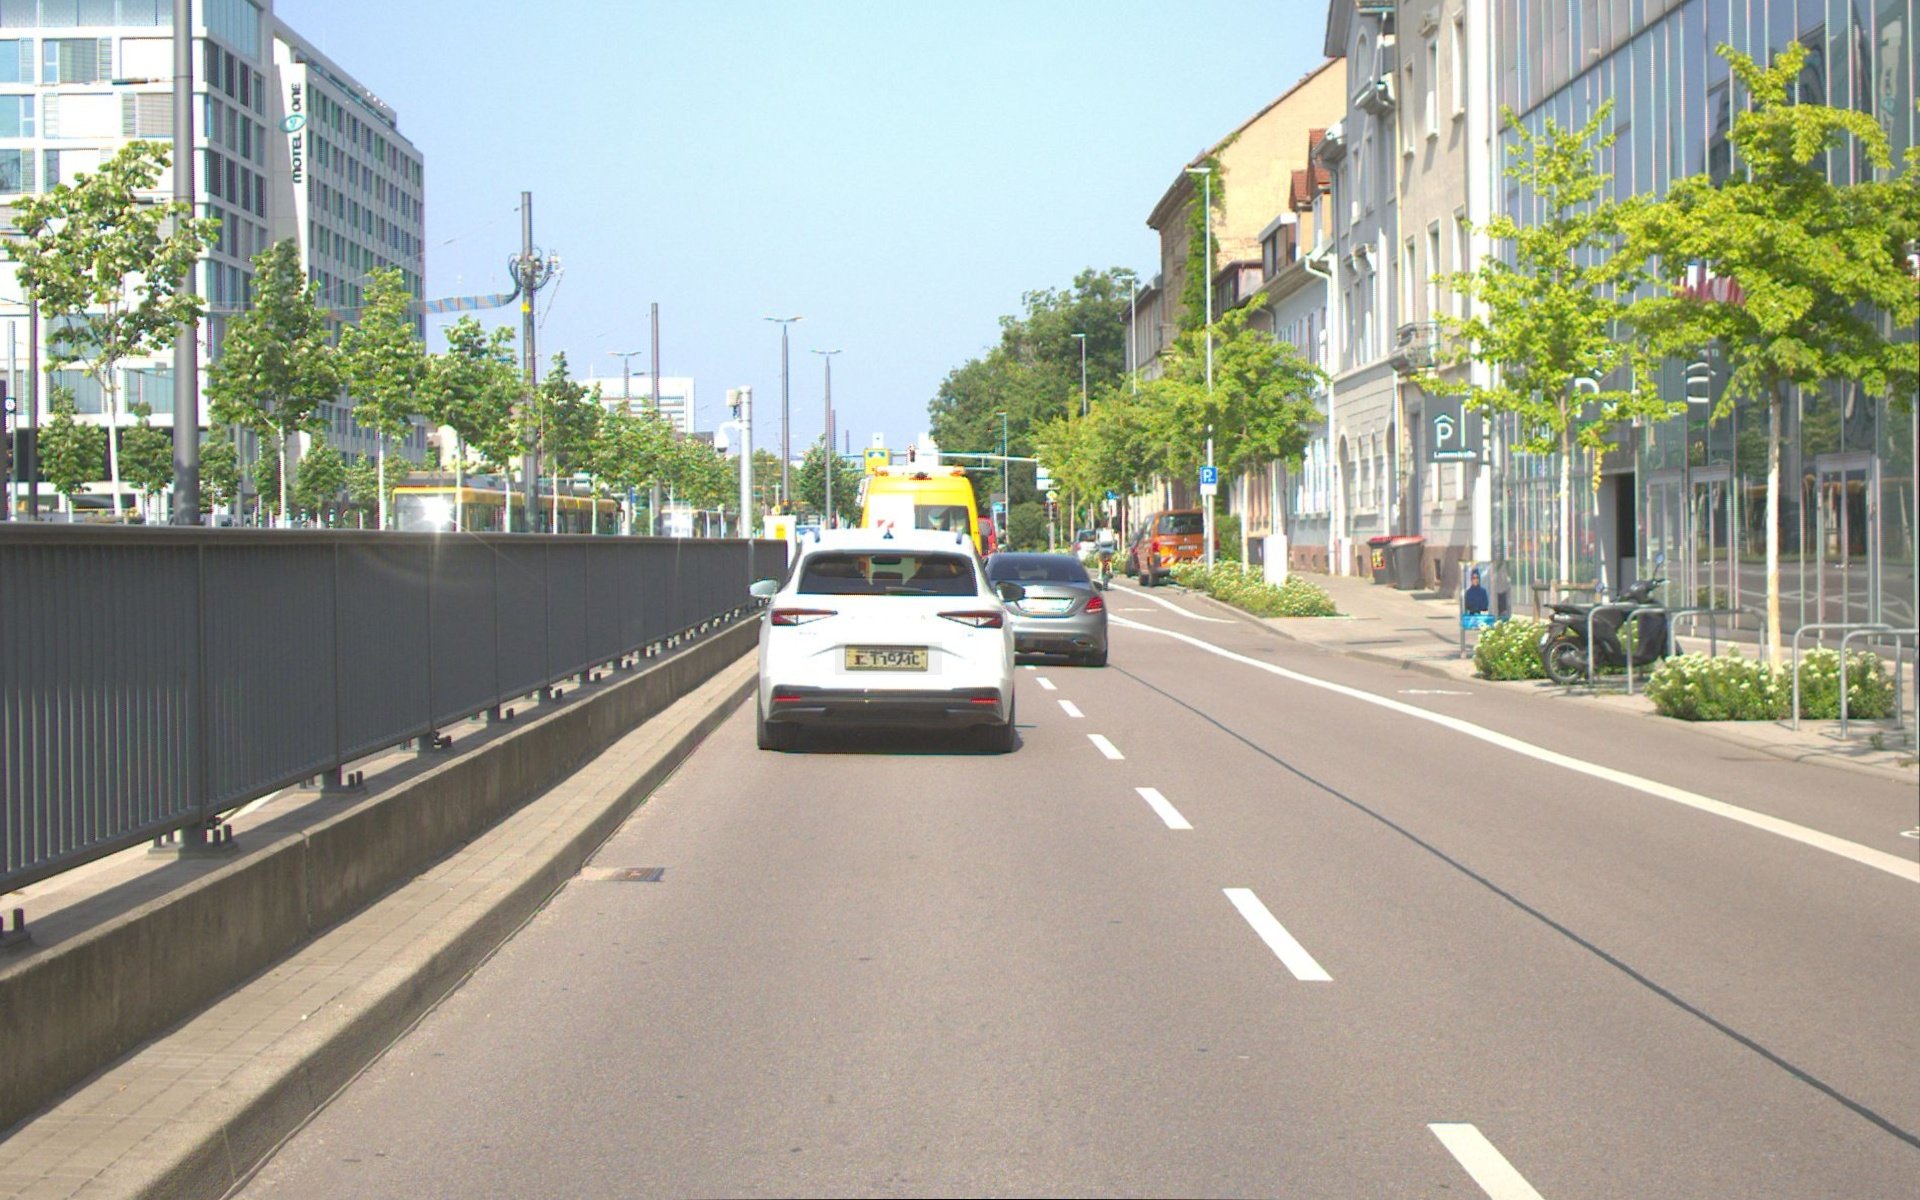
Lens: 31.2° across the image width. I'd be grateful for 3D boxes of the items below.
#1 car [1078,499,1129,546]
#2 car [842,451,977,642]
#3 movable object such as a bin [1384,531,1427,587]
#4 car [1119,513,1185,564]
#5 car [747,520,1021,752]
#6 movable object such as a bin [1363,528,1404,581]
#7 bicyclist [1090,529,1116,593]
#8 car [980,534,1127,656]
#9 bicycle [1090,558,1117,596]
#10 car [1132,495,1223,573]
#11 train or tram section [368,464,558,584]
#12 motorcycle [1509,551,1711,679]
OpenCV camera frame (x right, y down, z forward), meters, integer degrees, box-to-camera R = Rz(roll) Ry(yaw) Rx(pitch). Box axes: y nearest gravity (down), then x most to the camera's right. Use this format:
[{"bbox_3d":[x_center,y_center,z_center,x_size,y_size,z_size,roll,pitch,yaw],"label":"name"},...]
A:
[{"bbox_3d":[5.623,-3.058,135.092,1.812,1.806,3.836,0,2,-1],"label":"car"},{"bbox_3d":[-0.765,-0.918,54.598,2.020,2.786,5.402,0,3,0],"label":"car"},{"bbox_3d":[9.545,-0.874,73.653,0.781,1.168,0.808,0,3,-1],"label":"movable object such as a bin"},{"bbox_3d":[5.852,-1.871,104.946,1.673,1.478,4.312,-2,1,-1],"label":"car"},{"bbox_3d":[-0.525,0.201,25.565,1.870,1.569,4.000,0,1,0],"label":"car"},{"bbox_3d":[9.503,-1.024,77.073,0.669,1.148,0.617,-3,4,-44],"label":"movable object such as a bin"},{"bbox_3d":[3.574,-0.980,85.709,0.639,1.571,0.771,0,1,2],"label":"bicyclist"},{"bbox_3d":[1.162,-0.098,44.429,1.760,1.431,4.115,1,2,0],"label":"car"},{"bbox_3d":[3.576,-0.578,85.711,0.655,0.935,1.517,0,1,2],"label":"bicycle"},{"bbox_3d":[5.750,-1.779,91.475,2.063,2.006,4.589,0,2,-1],"label":"car"},{"bbox_3d":[-16.454,-2.493,115.529,2.906,3.663,18.136,1,1,3],"label":"train or tram section"},{"bbox_3d":[7.059,0.148,37.390,1.968,1.345,0.868,-1,1,-11],"label":"motorcycle"}]
